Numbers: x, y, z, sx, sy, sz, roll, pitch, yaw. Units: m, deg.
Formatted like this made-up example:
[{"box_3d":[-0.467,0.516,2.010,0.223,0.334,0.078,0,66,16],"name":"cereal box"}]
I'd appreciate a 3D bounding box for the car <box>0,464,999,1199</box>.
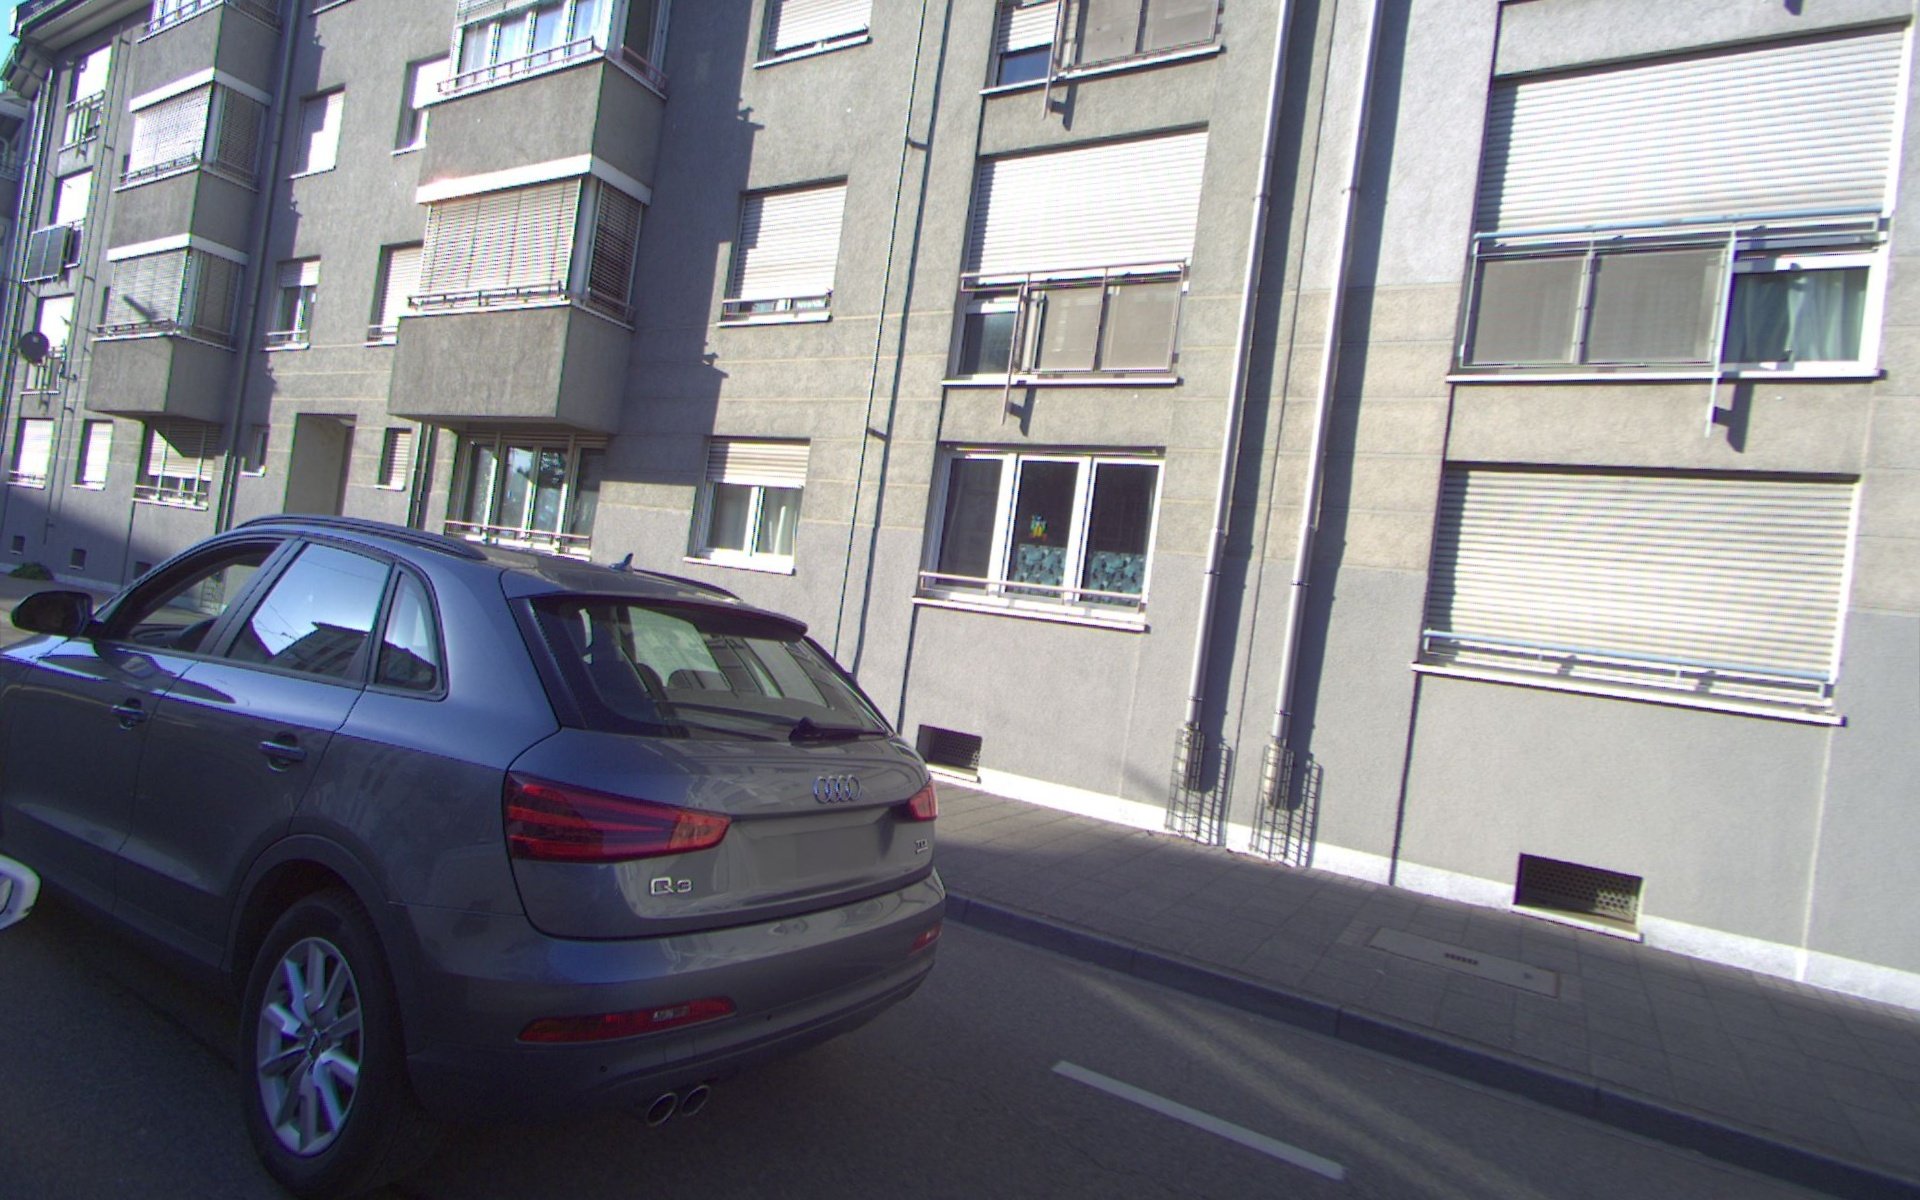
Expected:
[{"box_3d":[-2.111,0.529,3.692,4.001,1.605,1.770,7,-2,32],"name":"car"}]
